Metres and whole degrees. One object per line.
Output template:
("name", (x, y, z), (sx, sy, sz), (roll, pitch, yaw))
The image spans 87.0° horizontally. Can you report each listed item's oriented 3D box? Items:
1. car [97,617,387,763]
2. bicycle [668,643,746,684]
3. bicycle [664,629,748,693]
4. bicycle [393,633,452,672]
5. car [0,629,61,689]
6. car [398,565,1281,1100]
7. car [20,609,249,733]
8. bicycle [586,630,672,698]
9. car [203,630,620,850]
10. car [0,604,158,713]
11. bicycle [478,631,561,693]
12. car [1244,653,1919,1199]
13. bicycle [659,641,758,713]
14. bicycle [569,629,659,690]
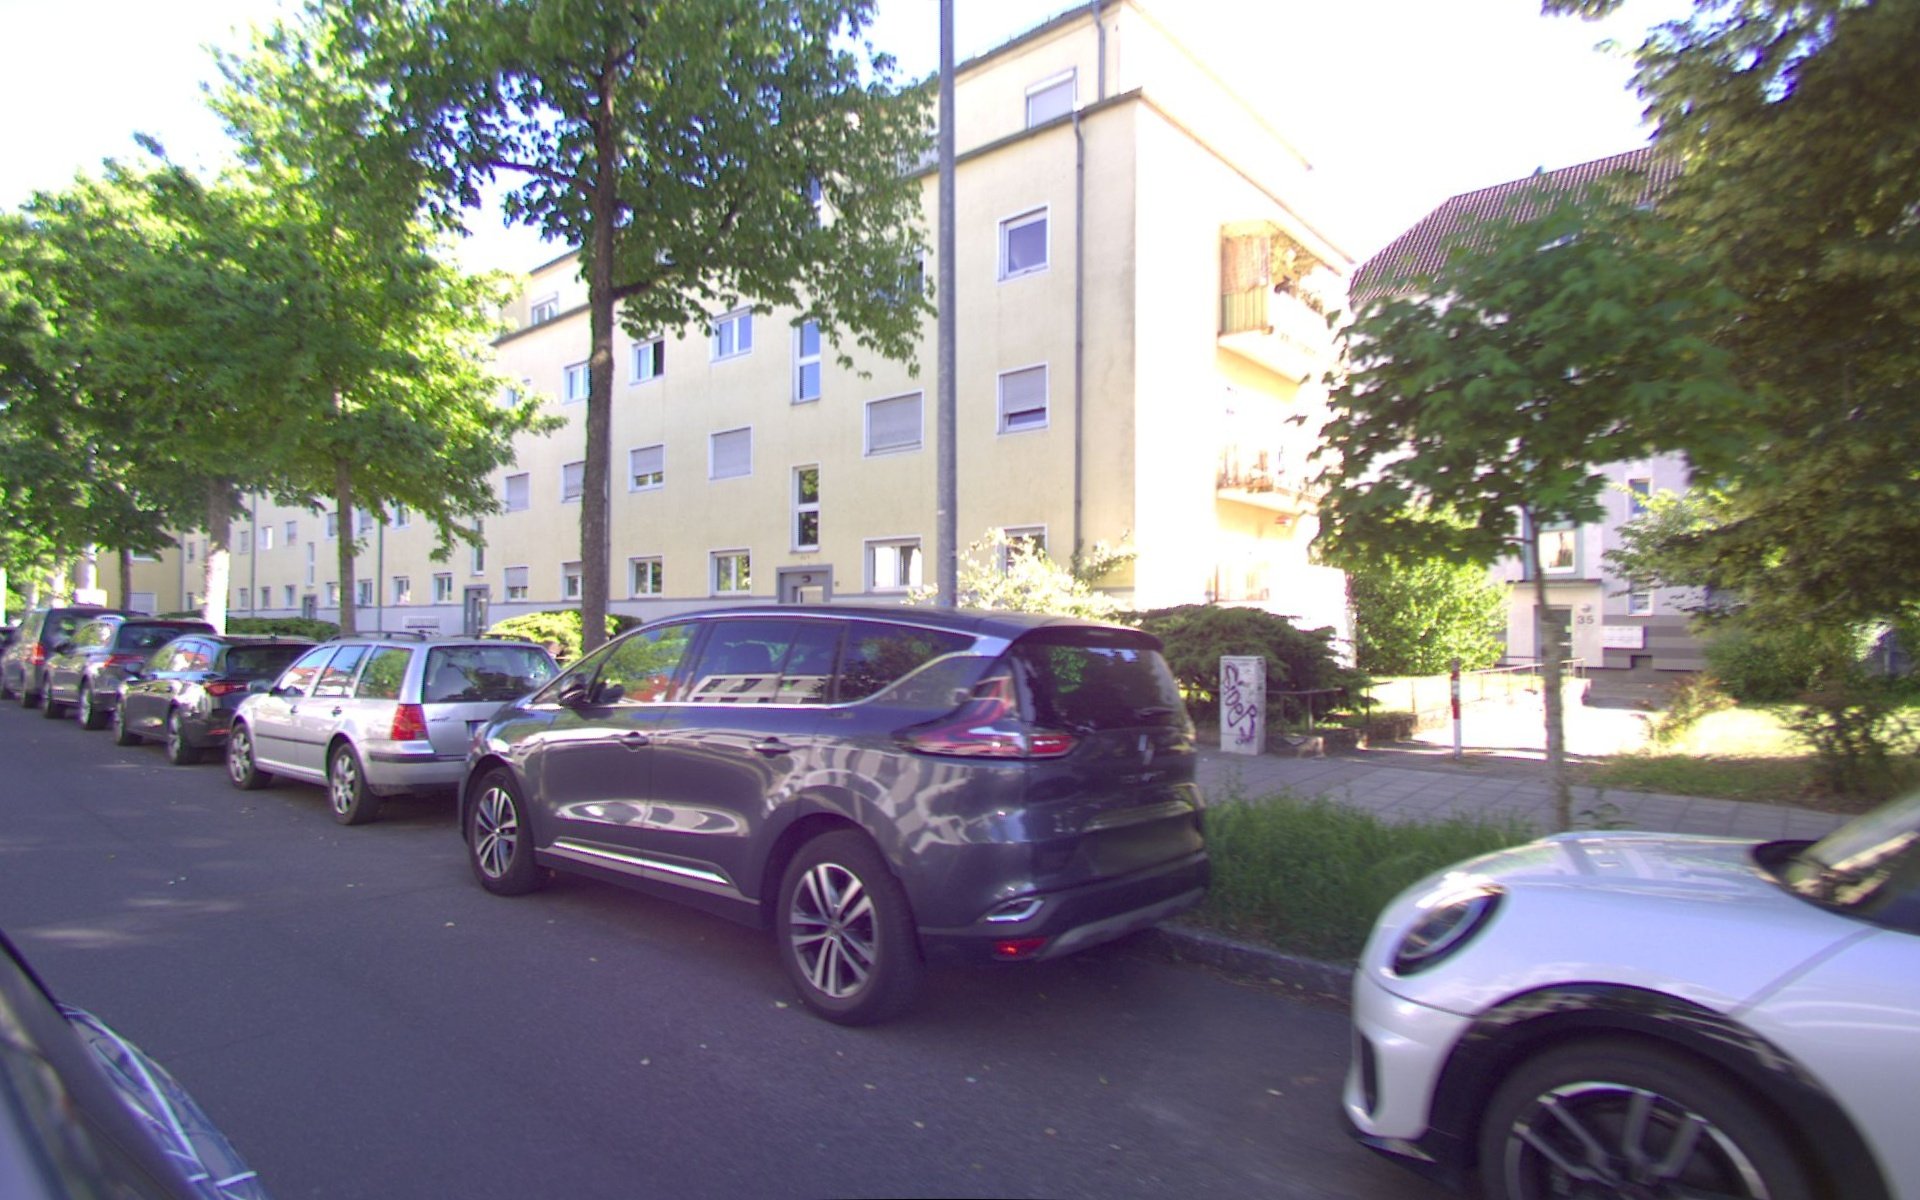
("car", (-8.840, 0.979, 12.320), (4.486, 1.463, 1.775), (-1, -3, 40))
("bicycle", (-5.780, 1.436, 23.186), (0.585, 0.876, 1.691), (-1, -2, 41))
("bicycle", (-5.177, 1.215, 20.689), (0.590, 1.235, 1.617), (-1, -2, 41))
("bicycle", (-13.365, 1.287, 25.130), (1.901, 0.923, 0.589), (-1, -3, 39))
("car", (-25.185, 1.508, 26.588), (4.061, 1.482, 1.757), (-1, -5, 41))
("car", (-1.063, 0.802, 5.538), (5.084, 1.669, 1.823), (-1, -3, 40))
("car", (-13.156, 1.046, 16.043), (4.519, 1.699, 1.777), (-1, -3, 38))
("bicycle", (-6.318, 1.197, 19.391), (0.515, 1.235, 1.622), (-1, -1, 31))
("car", (-5.047, 1.030, 9.028), (4.485, 1.492, 1.689), (-1, -3, 39))
("car", (-17.254, 1.072, 19.593), (4.863, 1.864, 1.775), (-1, -3, 41))
("bicycle", (-9.066, 1.247, 20.792), (2.259, 1.199, 0.589), (-1, -3, 40))
("car", (2.893, 0.833, 2.043), (4.185, 1.384, 1.637), (-1, -3, 39))
("bicycle", (-4.091, 1.209, 16.371), (1.932, 1.069, 0.566), (-1, -2, 41))
("bicycle", (-7.348, 1.235, 21.581), (0.517, 1.235, 1.802), (-1, -2, 41))
